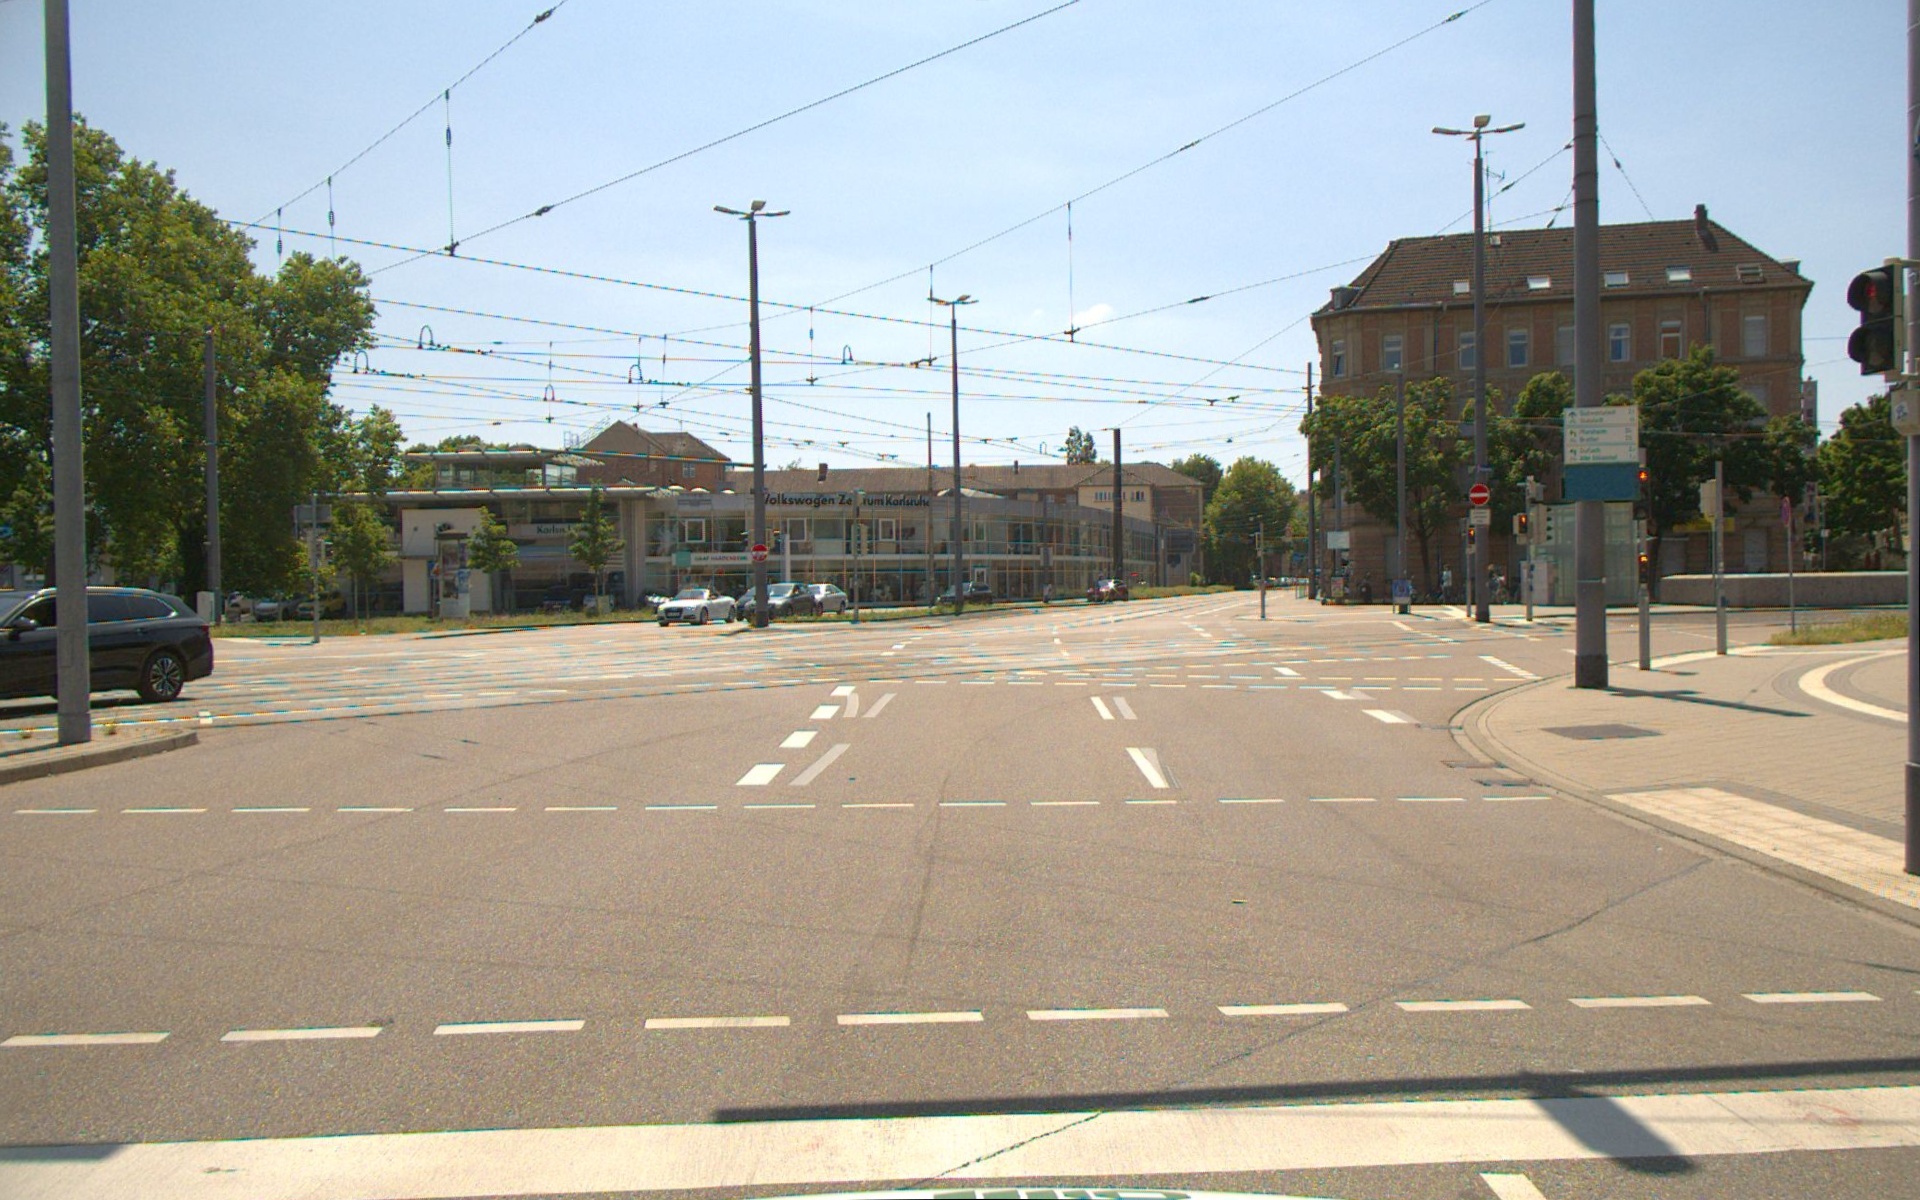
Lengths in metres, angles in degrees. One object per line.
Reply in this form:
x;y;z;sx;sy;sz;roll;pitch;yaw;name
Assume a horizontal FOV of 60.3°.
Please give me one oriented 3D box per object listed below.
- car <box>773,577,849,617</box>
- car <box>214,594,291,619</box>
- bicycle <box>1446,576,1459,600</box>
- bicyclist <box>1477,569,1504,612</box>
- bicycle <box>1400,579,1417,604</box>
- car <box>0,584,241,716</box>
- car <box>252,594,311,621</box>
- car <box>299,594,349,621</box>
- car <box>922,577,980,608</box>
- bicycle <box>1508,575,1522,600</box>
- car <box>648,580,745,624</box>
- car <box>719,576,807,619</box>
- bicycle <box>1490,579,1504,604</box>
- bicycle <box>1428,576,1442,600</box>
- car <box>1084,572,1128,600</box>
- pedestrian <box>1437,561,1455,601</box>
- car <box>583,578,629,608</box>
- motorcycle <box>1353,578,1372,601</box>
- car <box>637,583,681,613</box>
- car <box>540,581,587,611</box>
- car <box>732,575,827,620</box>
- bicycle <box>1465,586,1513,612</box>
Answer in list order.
-6.823;-0.152;76.223;1.951;1.770;4.546;-1;1;16;car
-45.569;0.406;106.505;4.279;1.536;1.750;-1;1;-36;car
23.460;-0.566;78.778;0.539;1.139;1.822;-1;0;15;bicycle
22.850;-0.398;71.255;1.047;1.839;0.475;1;-1;-26;bicyclist
21.668;-0.413;79.865;0.433;1.166;2.095;1;0;6;bicycle
-11.500;0.585;20.315;1.953;1.491;4.844;-1;1;24;car
-41.445;0.444;101.119;1.731;1.536;4.327;-1;1;0;car
-38.658;0.437;100.606;1.732;1.536;4.322;-1;1;-5;car
-0.500;-0.438;96.059;2.034;1.712;4.850;-1;1;16;car
26.557;-0.603;79.158;0.539;1.139;1.931;-1;0;15;bicycle
-10.161;0.039;64.090;2.032;1.607;4.850;-1;1;13;car
-8.325;-0.119;70.257;1.951;1.730;4.850;-1;1;16;car
25.735;-0.408;79.275;0.539;1.139;1.872;-1;0;15;bicycle
22.744;-0.582;79.140;0.539;1.139;1.821;-1;0;18;bicycle
10.178;-0.954;114.984;1.953;1.807;3.999;1;0;22;car
21.241;-0.844;72.293;0.456;1.738;0.633;-1;0;-31;pedestrian
-21.337;-0.379;99.766;1.881;1.737;4.000;1;0;0;car
19.332;-0.492;79.460;0.568;1.093;1.947;-1;0;3;motorcycle
-18.155;-0.123;99.898;1.881;1.737;4.000;1;0;0;car
-23.886;-0.222;99.748;1.881;1.737;4.000;1;0;0;car
-6.981;-0.125;64.450;1.951;1.666;4.850;-1;1;16;car
22.759;-0.055;71.170;2.079;1.071;0.687;-1;0;-26;bicycle
